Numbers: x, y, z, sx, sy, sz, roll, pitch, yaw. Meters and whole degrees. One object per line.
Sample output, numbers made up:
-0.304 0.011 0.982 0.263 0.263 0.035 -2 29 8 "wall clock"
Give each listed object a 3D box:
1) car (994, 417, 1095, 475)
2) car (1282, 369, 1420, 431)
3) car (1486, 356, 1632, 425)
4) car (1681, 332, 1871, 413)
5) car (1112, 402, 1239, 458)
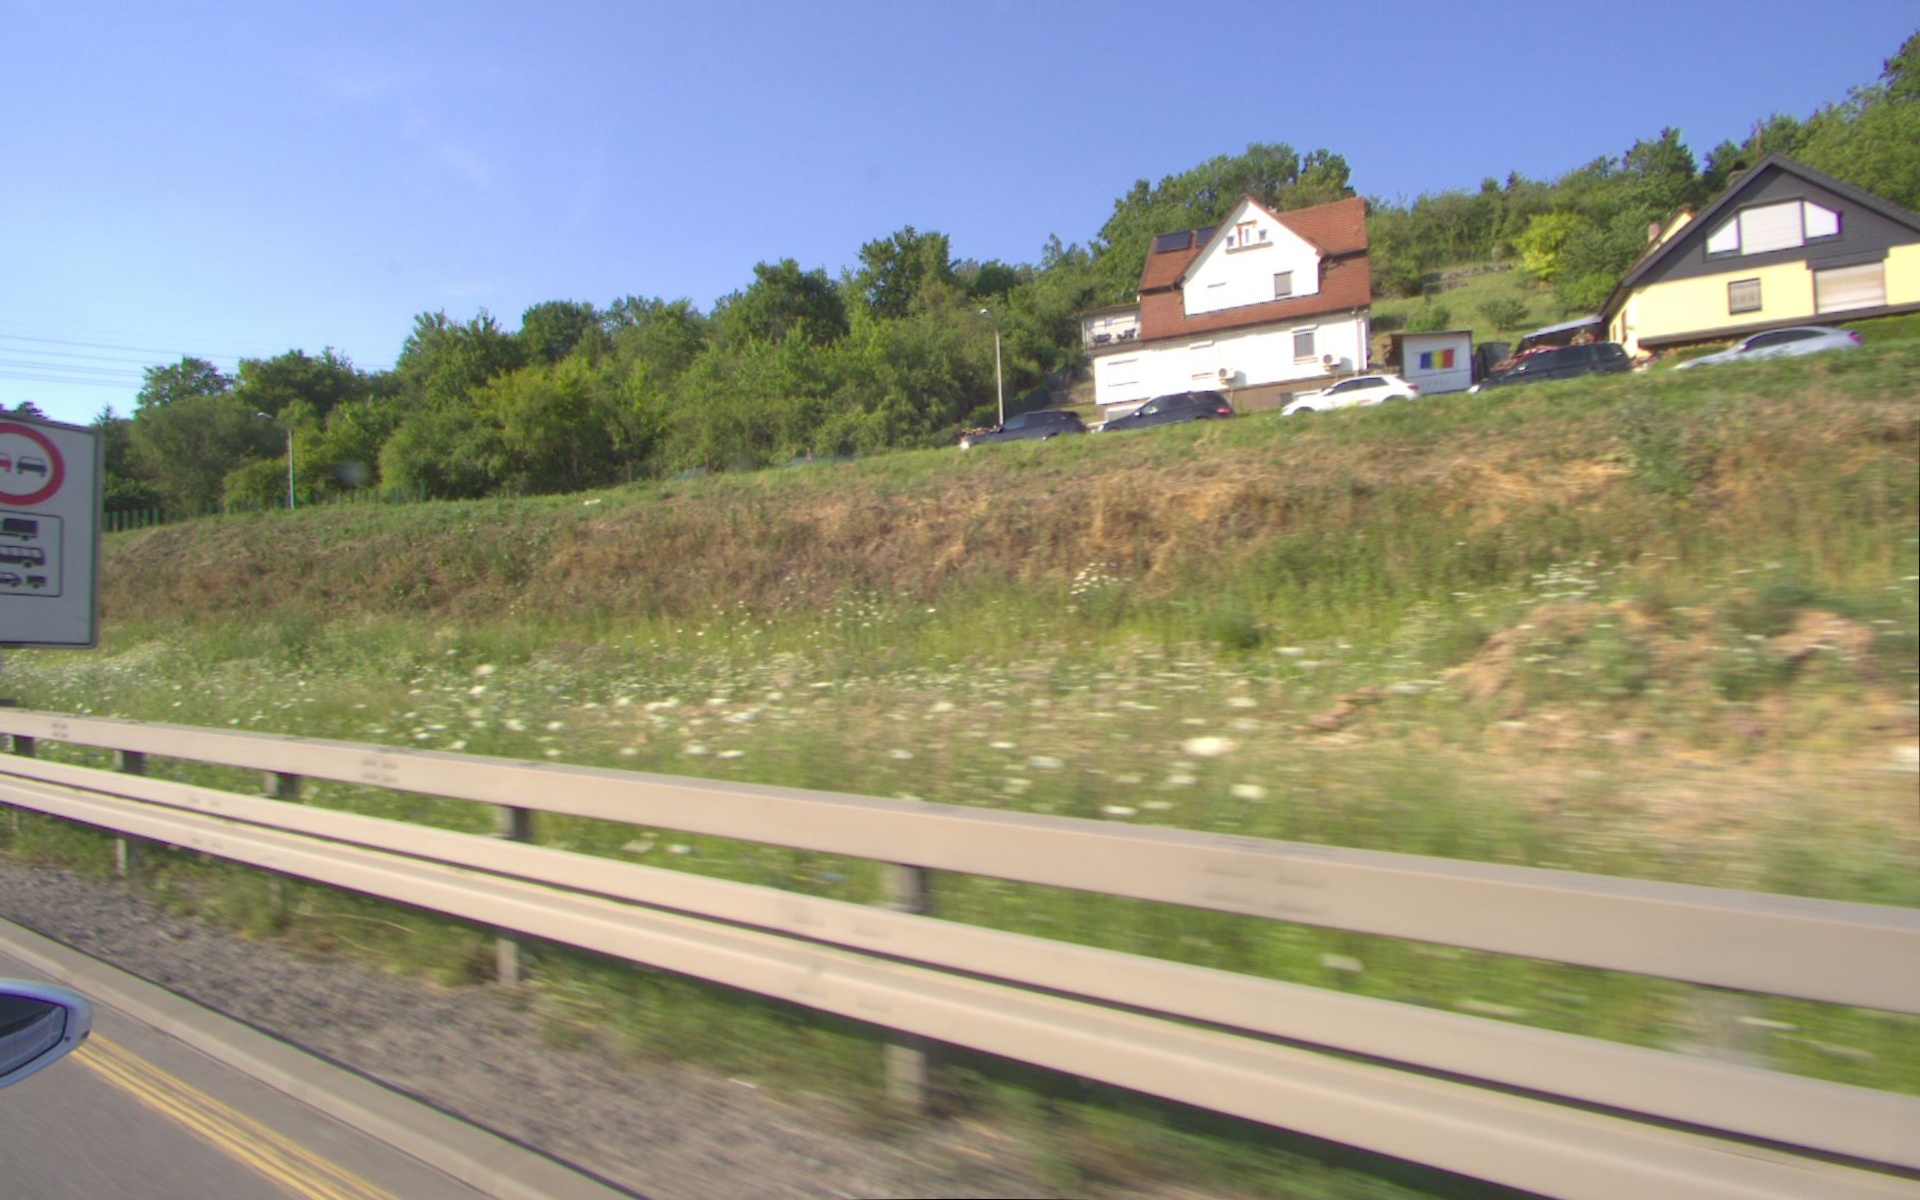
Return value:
2.876 -5.223 34.181 3.179 1.476 1.359 -1 -2 24 "car"
11.816 -6.034 30.406 3.834 1.248 1.345 -1 -2 22 "car"
16.667 -5.814 28.003 3.285 1.340 1.346 -1 -2 21 "car"
20.958 -5.818 25.867 3.497 1.389 1.448 -1 -2 22 "car"
6.939 -5.445 32.270 3.833 1.248 1.346 -1 -2 21 "car"
